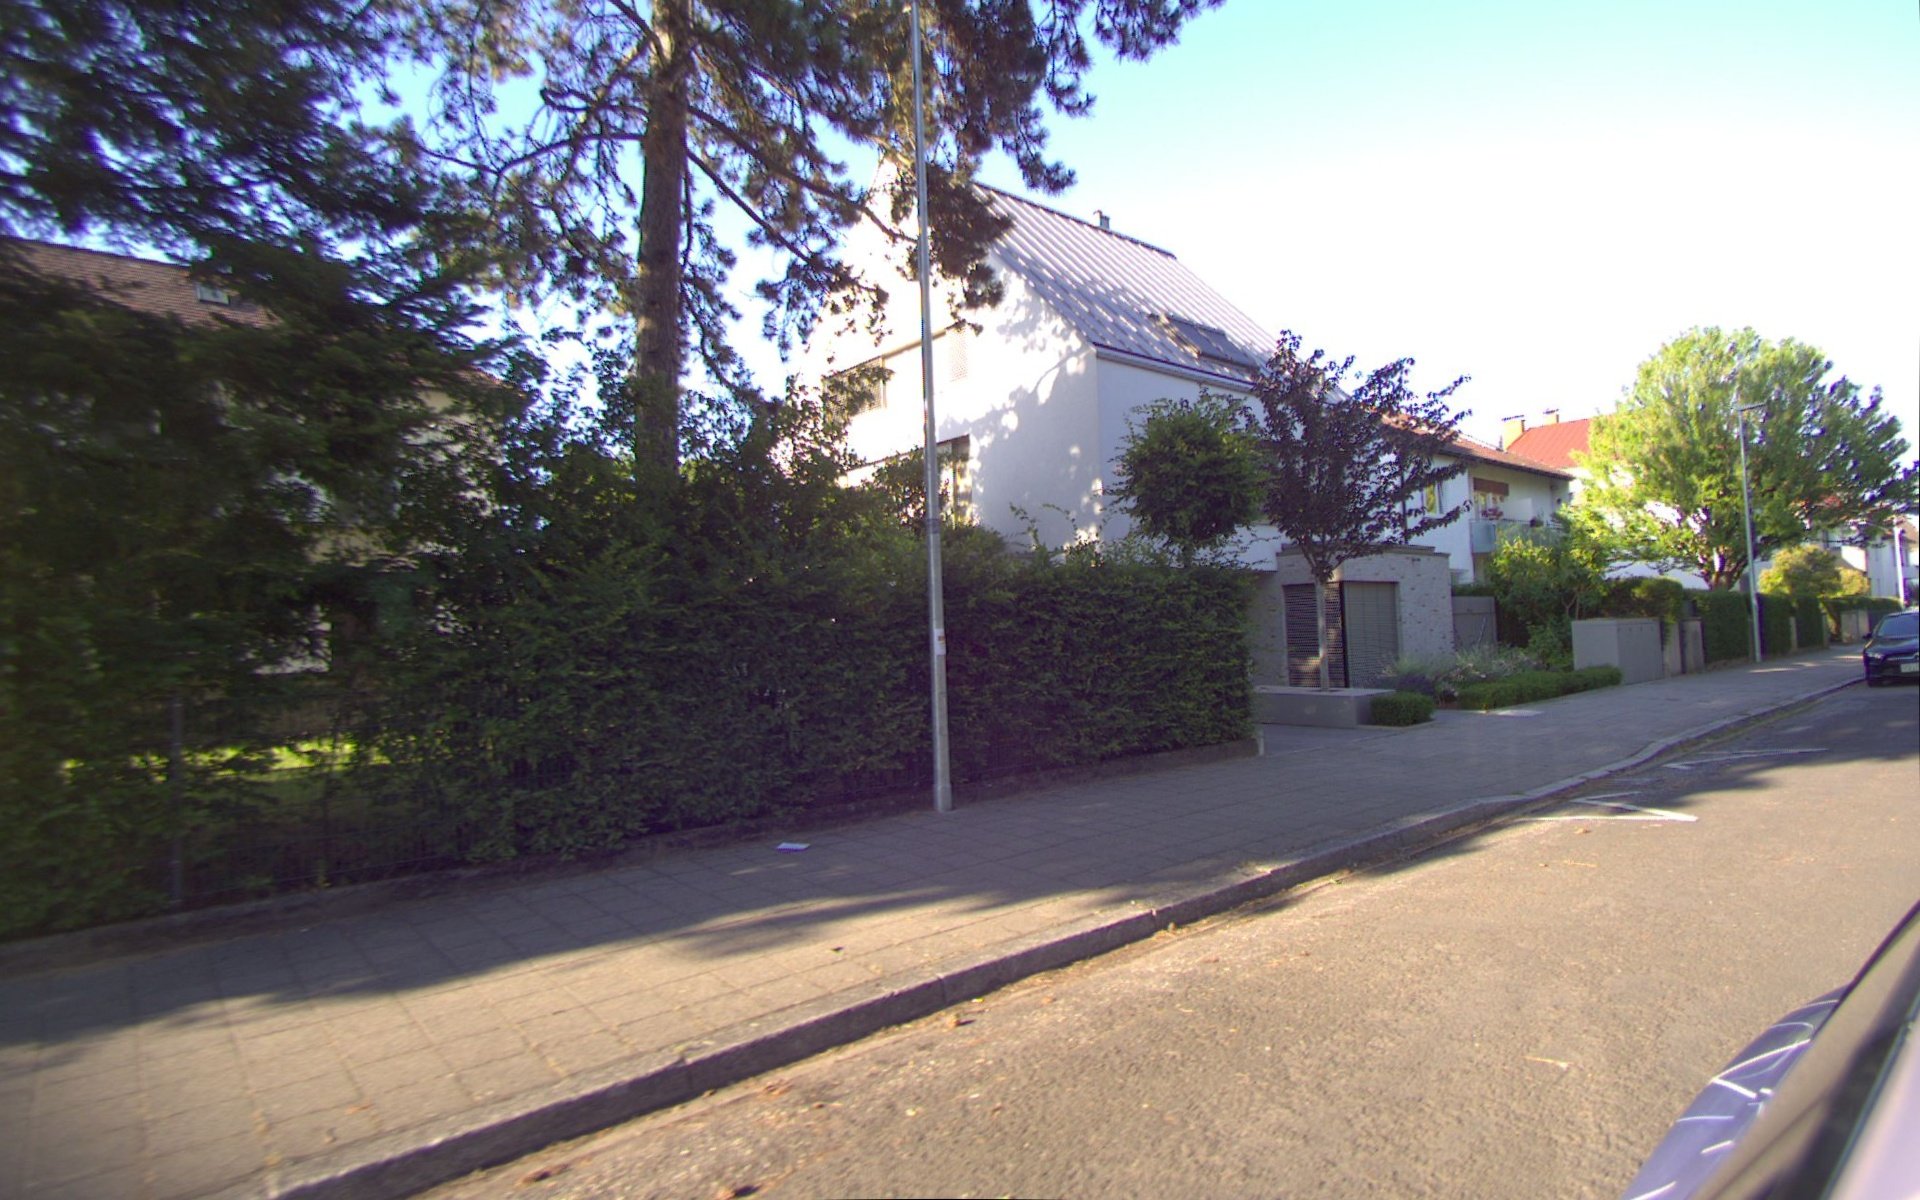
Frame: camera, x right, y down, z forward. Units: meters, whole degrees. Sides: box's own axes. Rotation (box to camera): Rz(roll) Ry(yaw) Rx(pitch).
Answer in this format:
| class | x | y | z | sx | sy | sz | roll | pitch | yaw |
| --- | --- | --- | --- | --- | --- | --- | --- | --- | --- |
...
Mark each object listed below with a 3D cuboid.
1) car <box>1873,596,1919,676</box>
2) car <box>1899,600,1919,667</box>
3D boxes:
| class | x | y | z | sx | sy | sz | roll | pitch | yaw |
| --- | --- | --- | --- | --- | --- | --- | --- | --- | --- |
| car | 19.942 | 0.654 | 20.480 | 4.216 | 1.496 | 1.749 | 0 | -5 | -44 |
| car | 23.676 | 0.675 | 24.038 | 3.865 | 1.503 | 1.691 | 0 | -8 | -45 |
